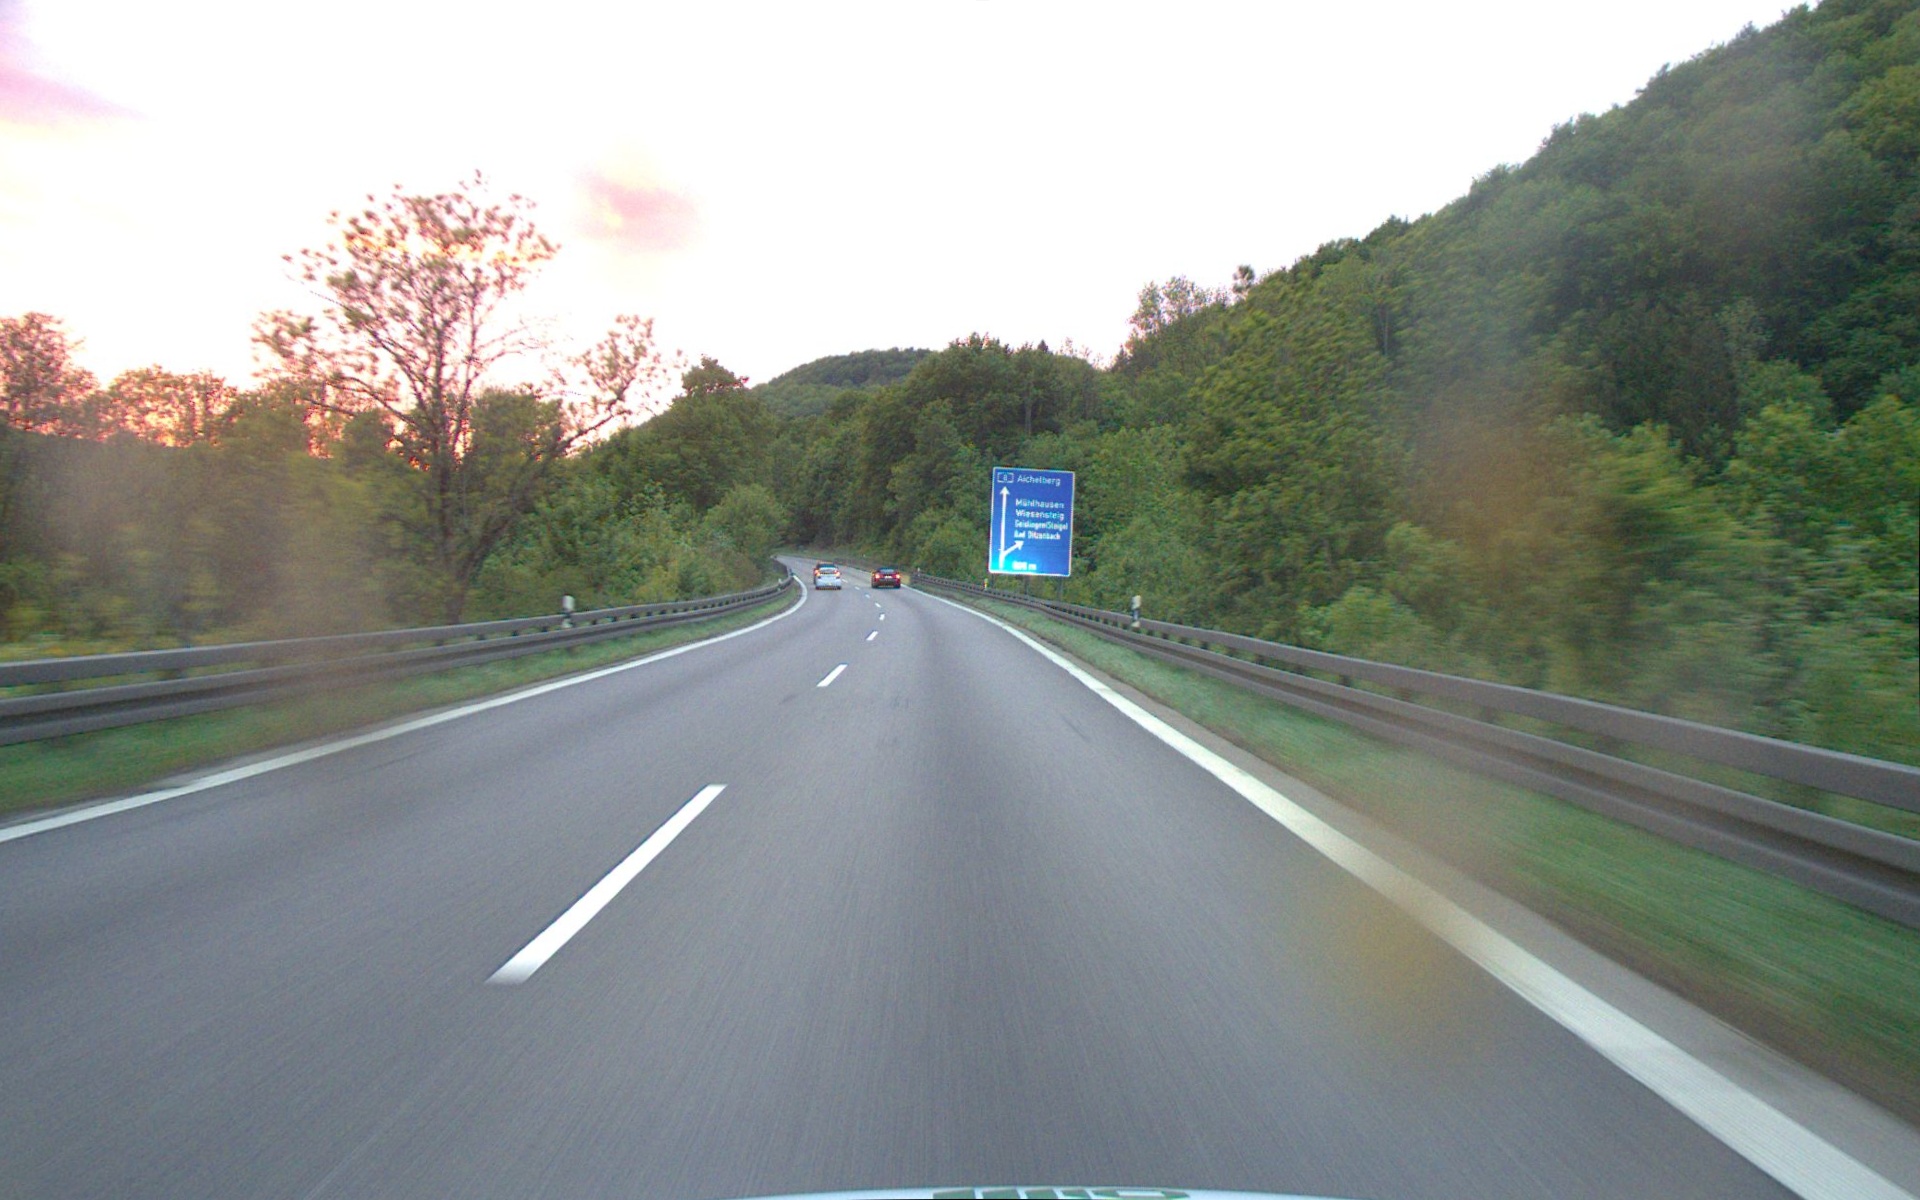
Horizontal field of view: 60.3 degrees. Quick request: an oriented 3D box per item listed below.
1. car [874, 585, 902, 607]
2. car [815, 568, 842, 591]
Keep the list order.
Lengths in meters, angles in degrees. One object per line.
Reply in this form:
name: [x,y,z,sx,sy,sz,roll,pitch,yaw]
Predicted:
car: [-5.034,-0.270,116.659,1.840,1.492,3.999,1,0,-1]
car: [-9.022,-1.390,113.857,1.684,1.527,3.998,1,0,-2]
